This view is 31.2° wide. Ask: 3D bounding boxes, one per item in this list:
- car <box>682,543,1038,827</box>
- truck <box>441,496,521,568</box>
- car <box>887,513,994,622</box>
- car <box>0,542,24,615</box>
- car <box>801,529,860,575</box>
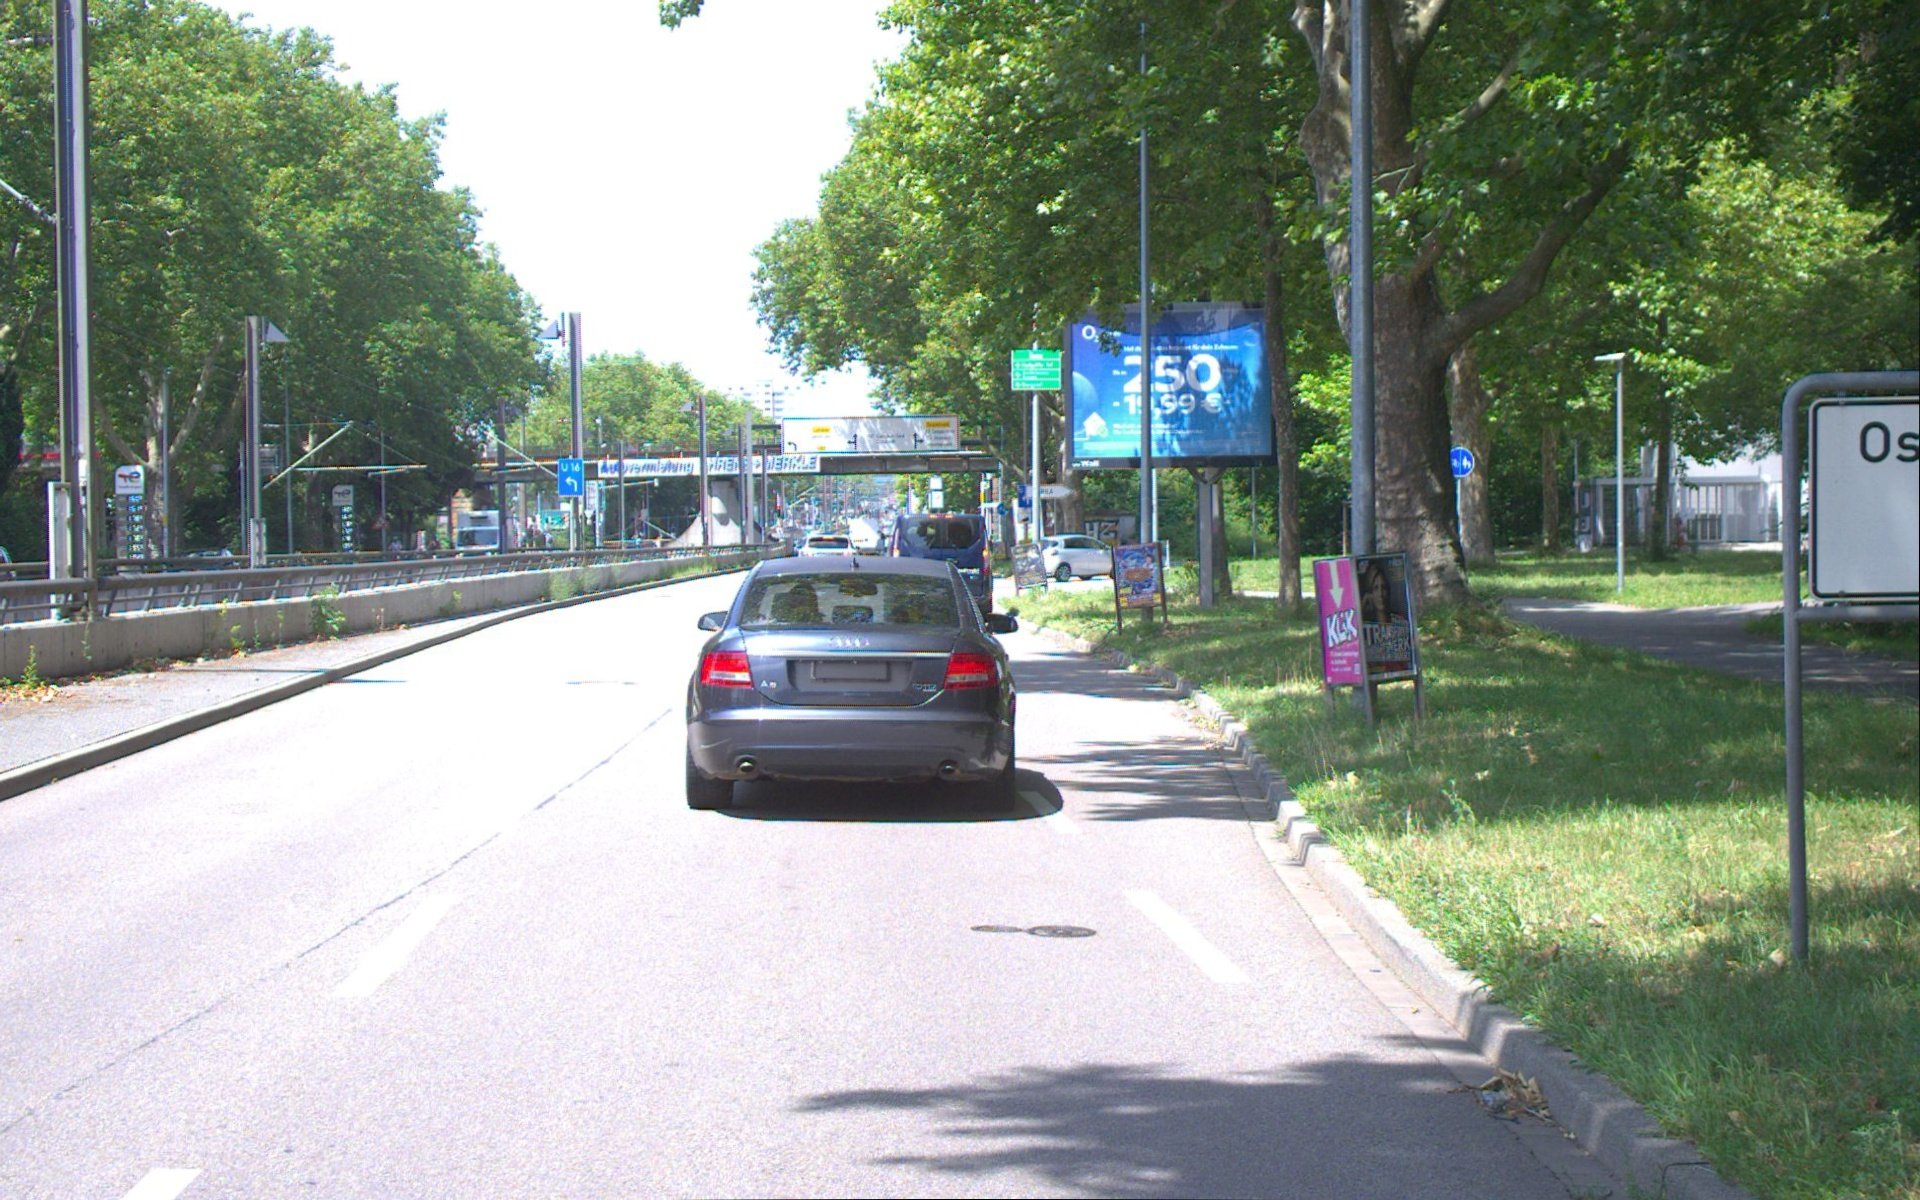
[{"bbox_3d":[-0.681,0.413,20.030,1.842,1.479,4.001,0,1,-5],"label":"car"},{"bbox_3d":[-20.787,-2.946,149.445,2.990,3.010,8.002,0,1,-5],"label":"truck"},{"bbox_3d":[-0.338,-0.629,64.359,1.848,1.953,4.144,1,1,1],"label":"car"},{"bbox_3d":[-23.179,-0.520,79.201,1.868,1.678,4.384,3,1,1],"label":"car"},{"bbox_3d":[-4.140,-1.536,109.660,1.845,1.459,4.001,0,1,-3],"label":"car"}]
